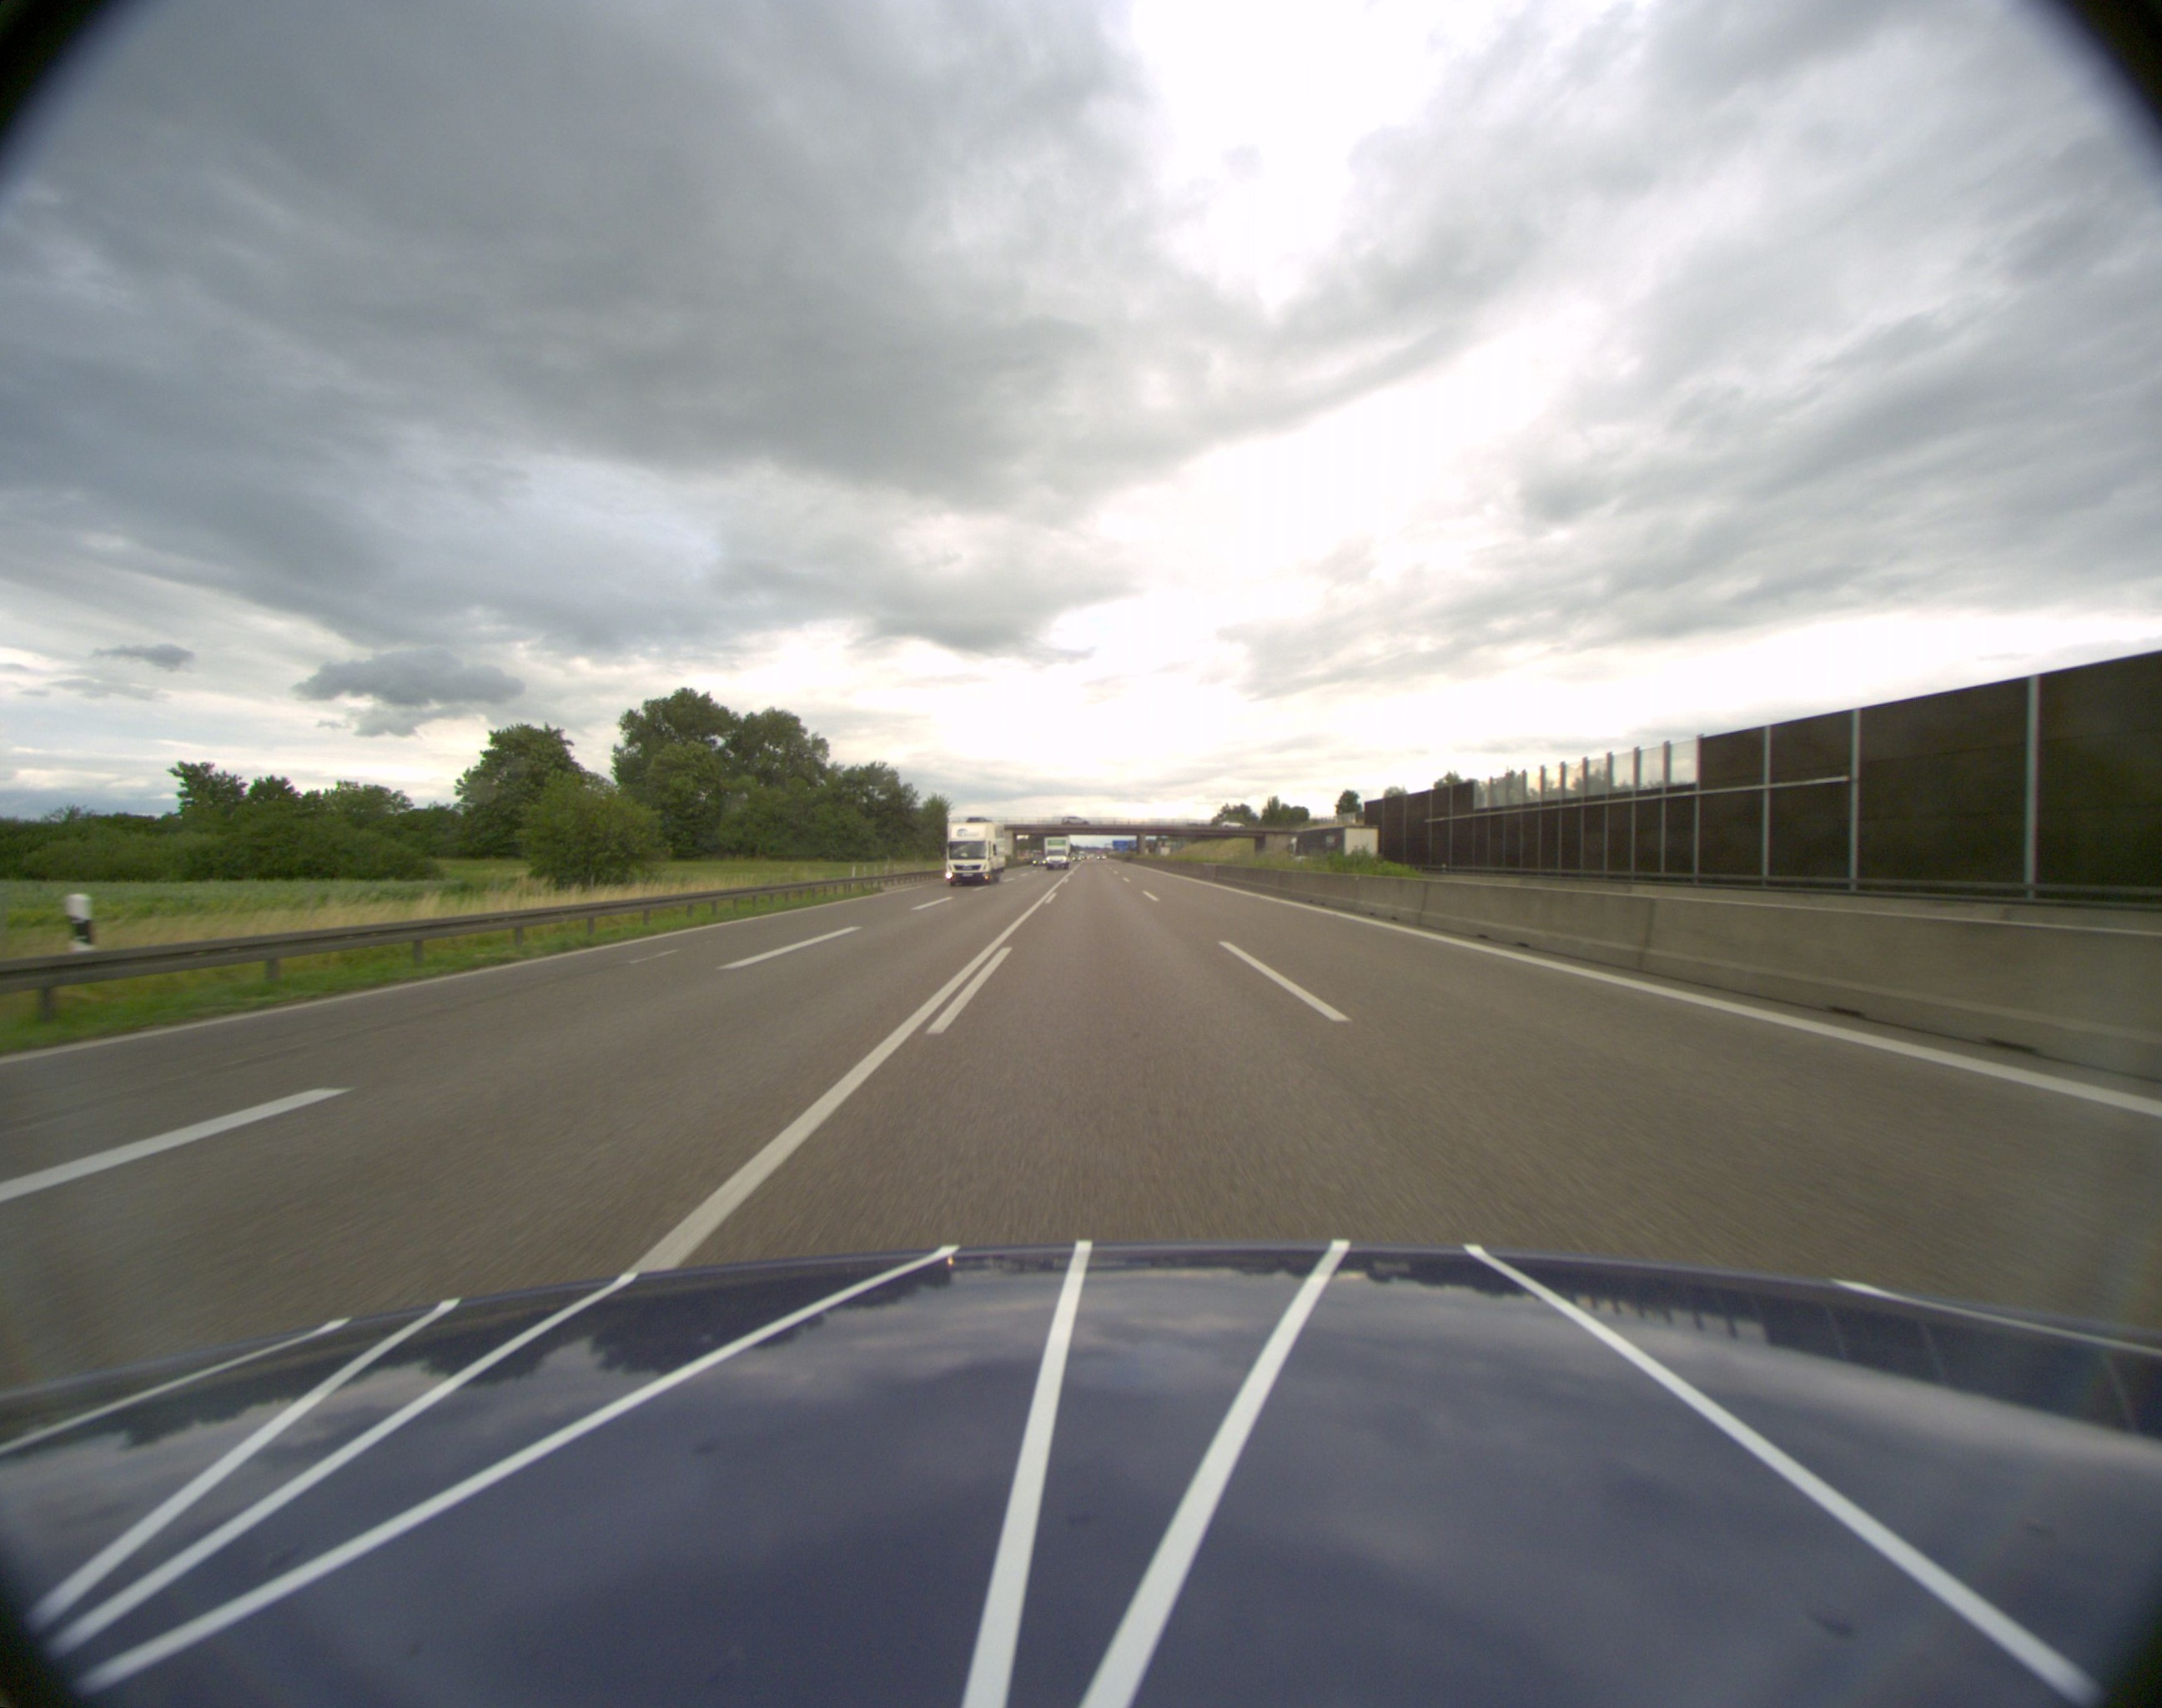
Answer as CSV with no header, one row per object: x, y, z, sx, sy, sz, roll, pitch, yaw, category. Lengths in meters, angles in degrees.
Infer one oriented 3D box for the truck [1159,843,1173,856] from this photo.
24.881,-1.457,223.055,3.005,3.662,13.007,-1,1,1,truck

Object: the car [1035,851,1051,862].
-5.392,0.297,108.522,1.922,1.541,4.924,0,0,1,car

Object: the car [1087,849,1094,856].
2.742,-0.571,222.670,1.998,2.002,4.000,0,0,1,car

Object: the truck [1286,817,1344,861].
22.332,-1.411,72.934,3.677,3.925,6.013,-2,1,1,truck

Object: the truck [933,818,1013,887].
-5.970,-0.089,43.756,3.112,3.450,8.890,-2,0,1,truck

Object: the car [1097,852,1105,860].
5.448,0.586,207.660,1.998,2.002,4.000,0,0,1,car

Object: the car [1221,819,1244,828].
26.072,-5.214,130.742,3.341,1.439,1.659,-1,1,-11,car

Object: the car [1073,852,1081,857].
-0.948,0.112,175.602,1.781,1.180,4.000,0,0,1,car

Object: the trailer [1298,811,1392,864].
22.155,-1.351,64.866,3.680,3.957,12.677,-2,0,1,trailer

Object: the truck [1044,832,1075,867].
-2.243,-0.487,82.009,2.777,3.484,9.062,-2,0,1,truck
